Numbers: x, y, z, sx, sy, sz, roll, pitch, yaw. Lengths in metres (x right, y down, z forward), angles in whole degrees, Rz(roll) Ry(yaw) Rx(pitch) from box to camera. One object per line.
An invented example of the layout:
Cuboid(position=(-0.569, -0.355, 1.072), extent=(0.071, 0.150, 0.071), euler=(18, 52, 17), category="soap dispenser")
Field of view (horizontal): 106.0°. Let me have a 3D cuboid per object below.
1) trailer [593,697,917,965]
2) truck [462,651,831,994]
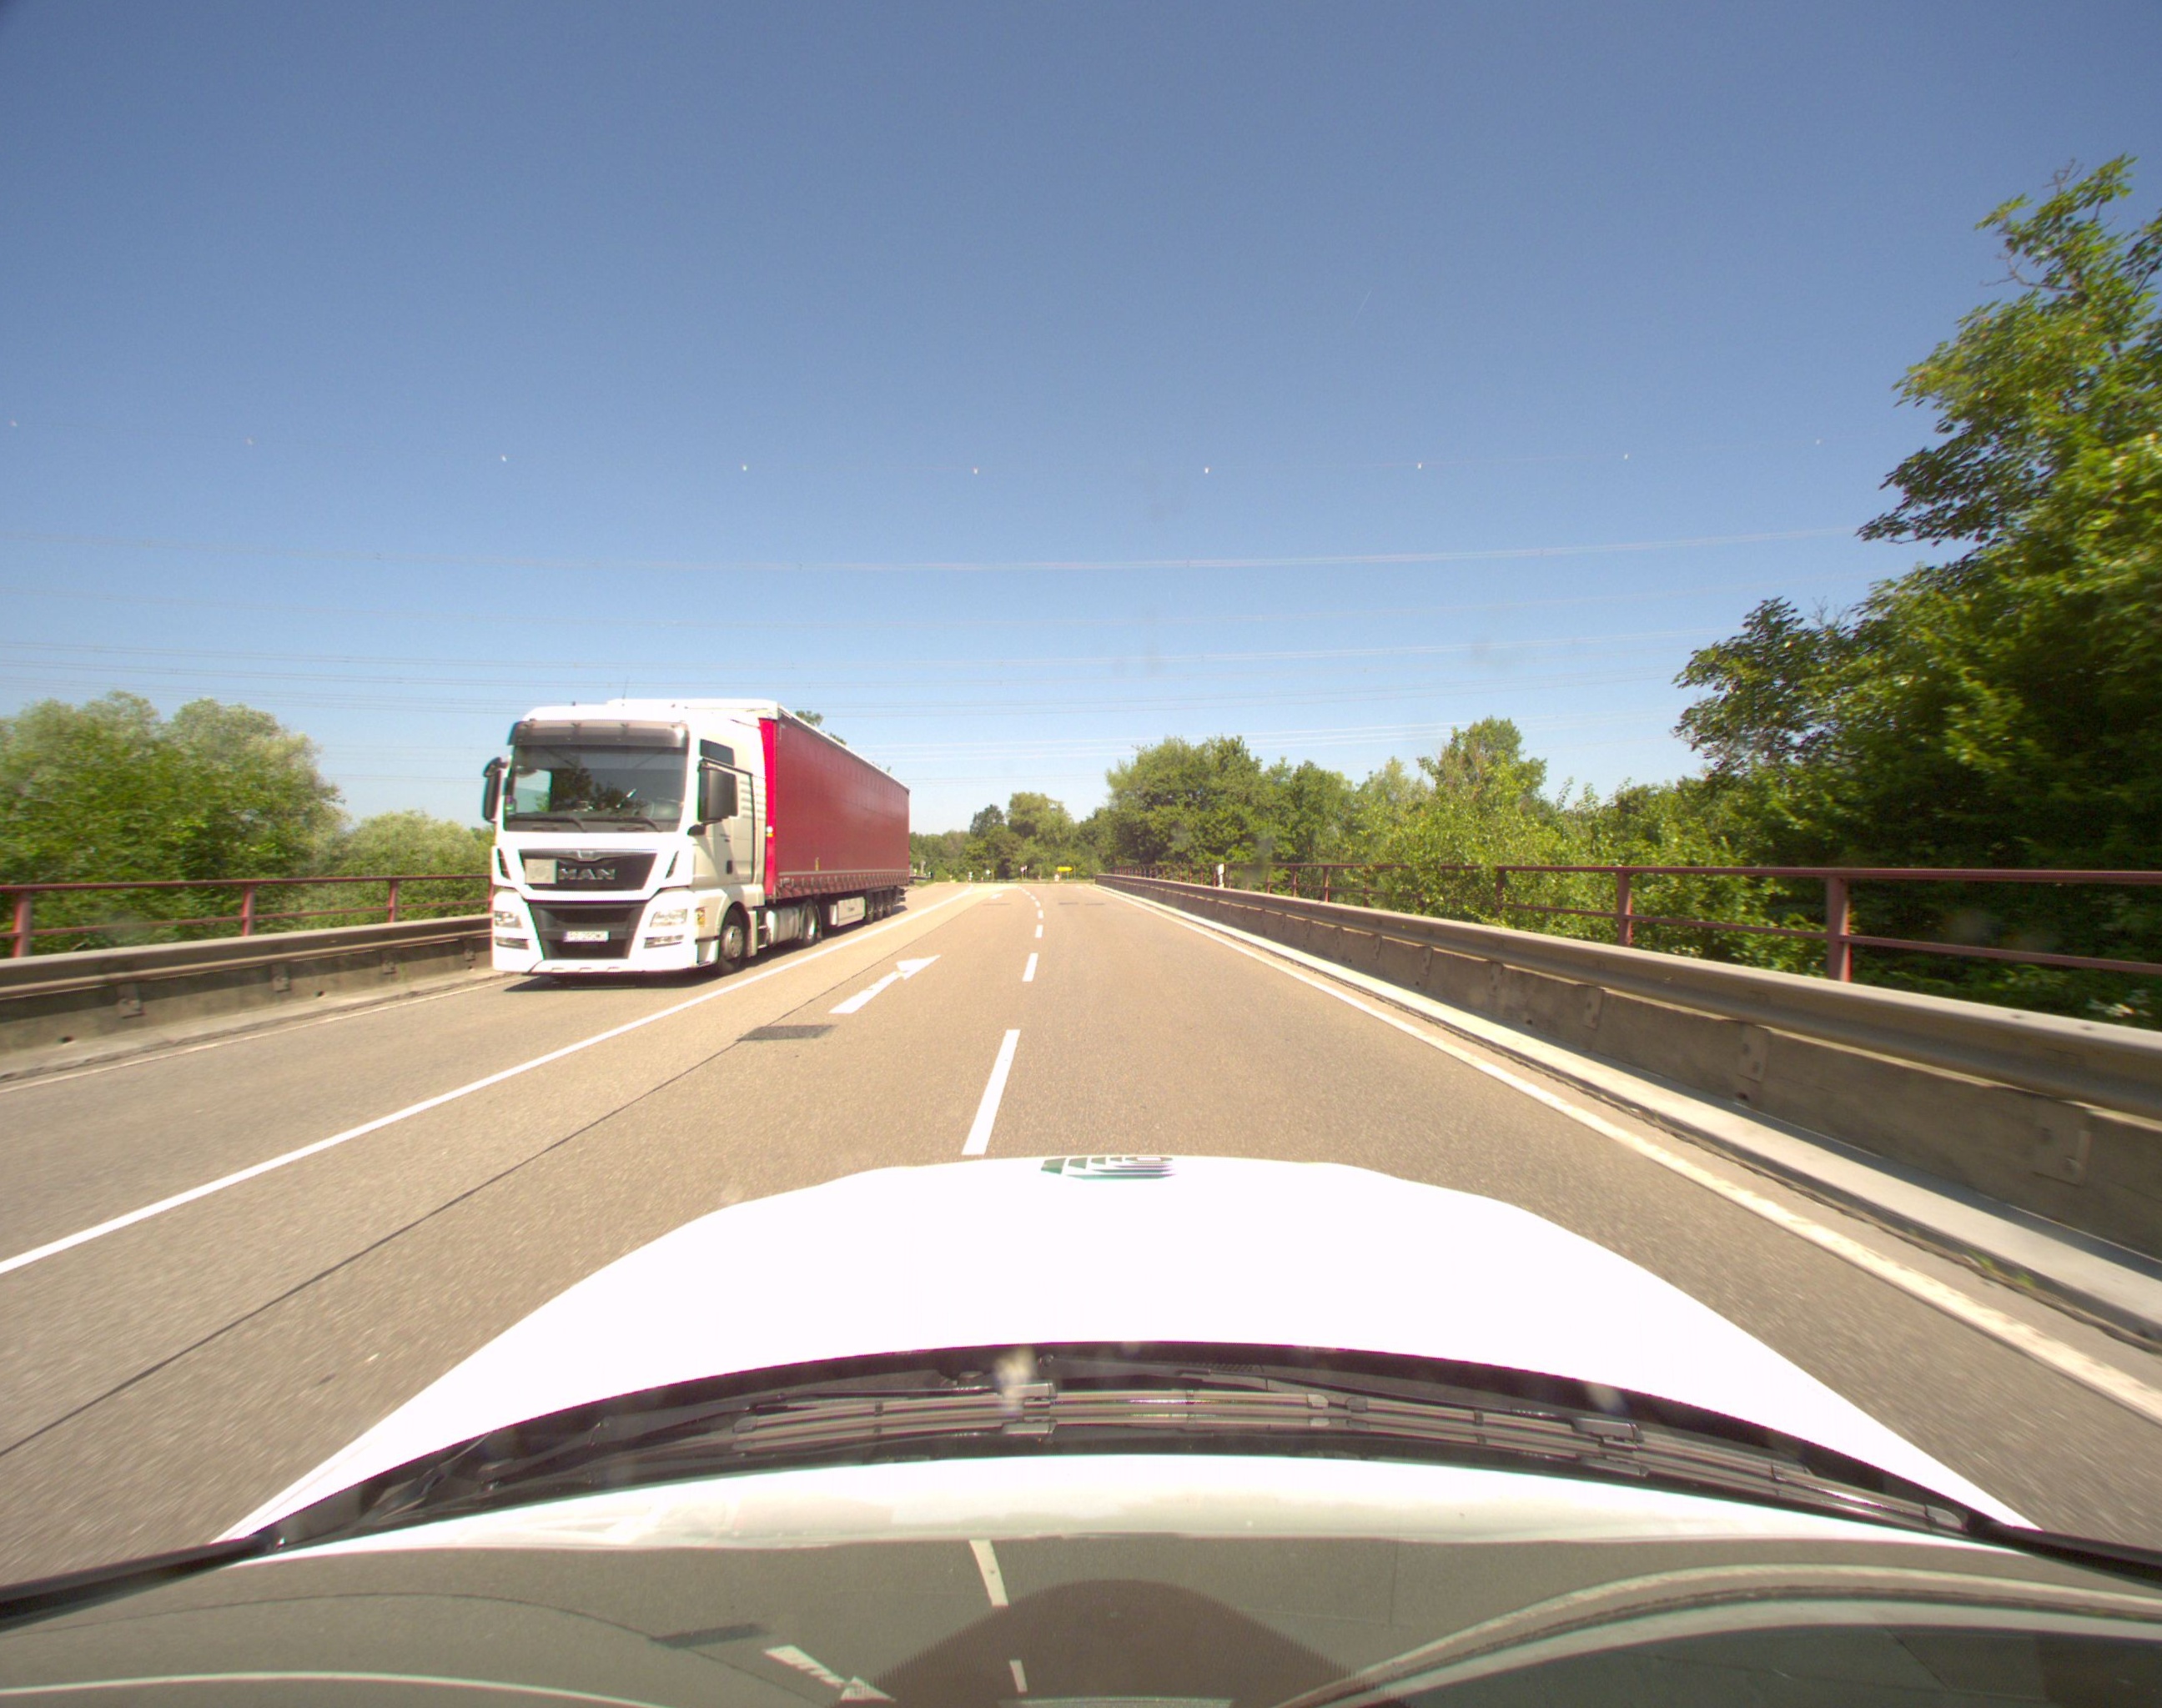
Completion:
Cuboid(position=(-6.440, -0.263, 19.623), extent=(2.762, 4.062, 14.181), euler=(-1, -1, -3), category="trailer")
Cuboid(position=(-6.058, -0.371, 12.632), extent=(2.763, 4.034, 5.848), euler=(-1, -1, -3), category="truck")
